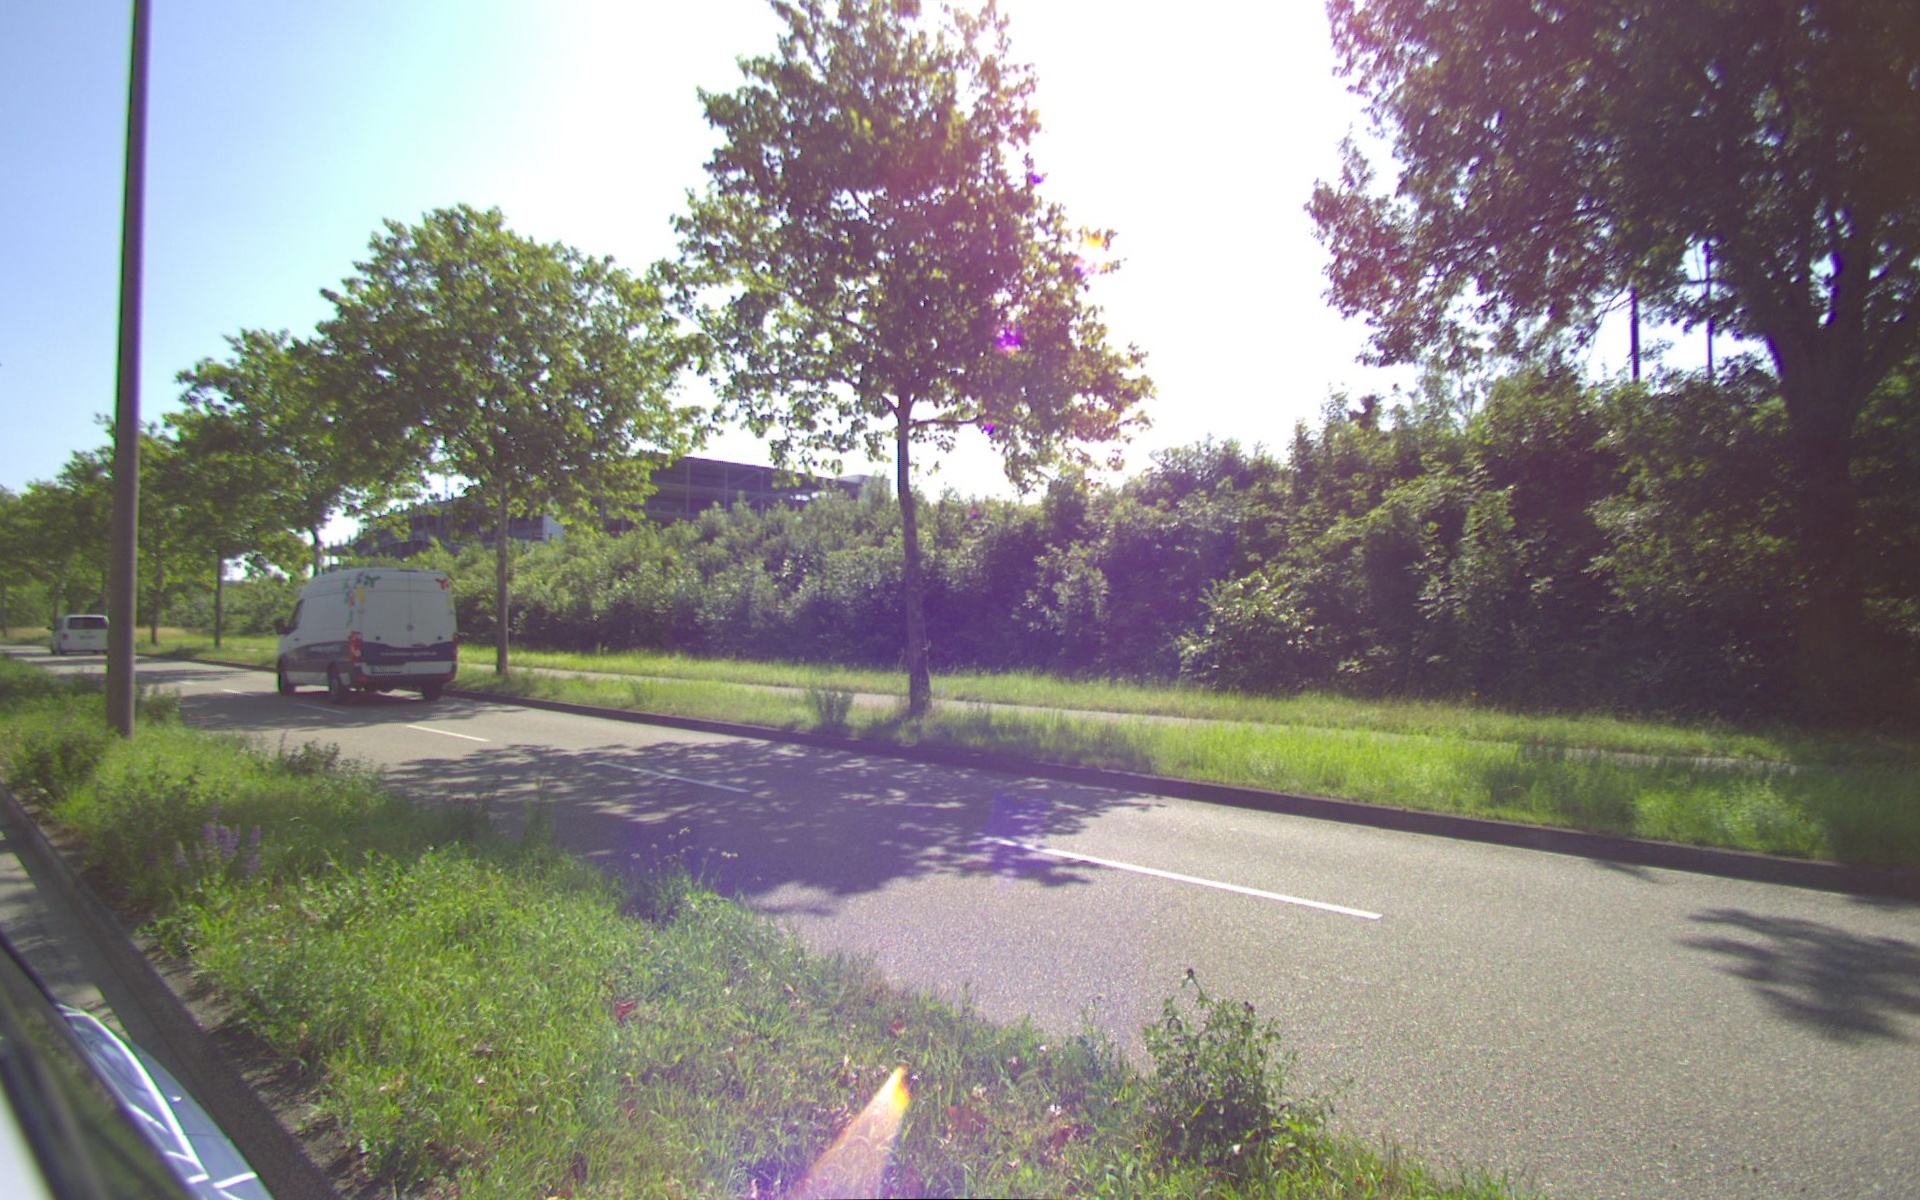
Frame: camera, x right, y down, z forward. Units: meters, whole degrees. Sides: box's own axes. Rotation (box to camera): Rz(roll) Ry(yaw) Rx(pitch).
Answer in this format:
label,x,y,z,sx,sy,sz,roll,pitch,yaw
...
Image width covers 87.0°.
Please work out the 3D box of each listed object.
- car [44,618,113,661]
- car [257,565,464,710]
label,x,y,z,sx,sy,sz,roll,pitch,yaw
car,-42.209,1.877,48.424,4.574,1.912,1.972,-1,-4,43
car,-12.736,0.773,21.311,5.783,2.683,1.973,-1,-3,41
